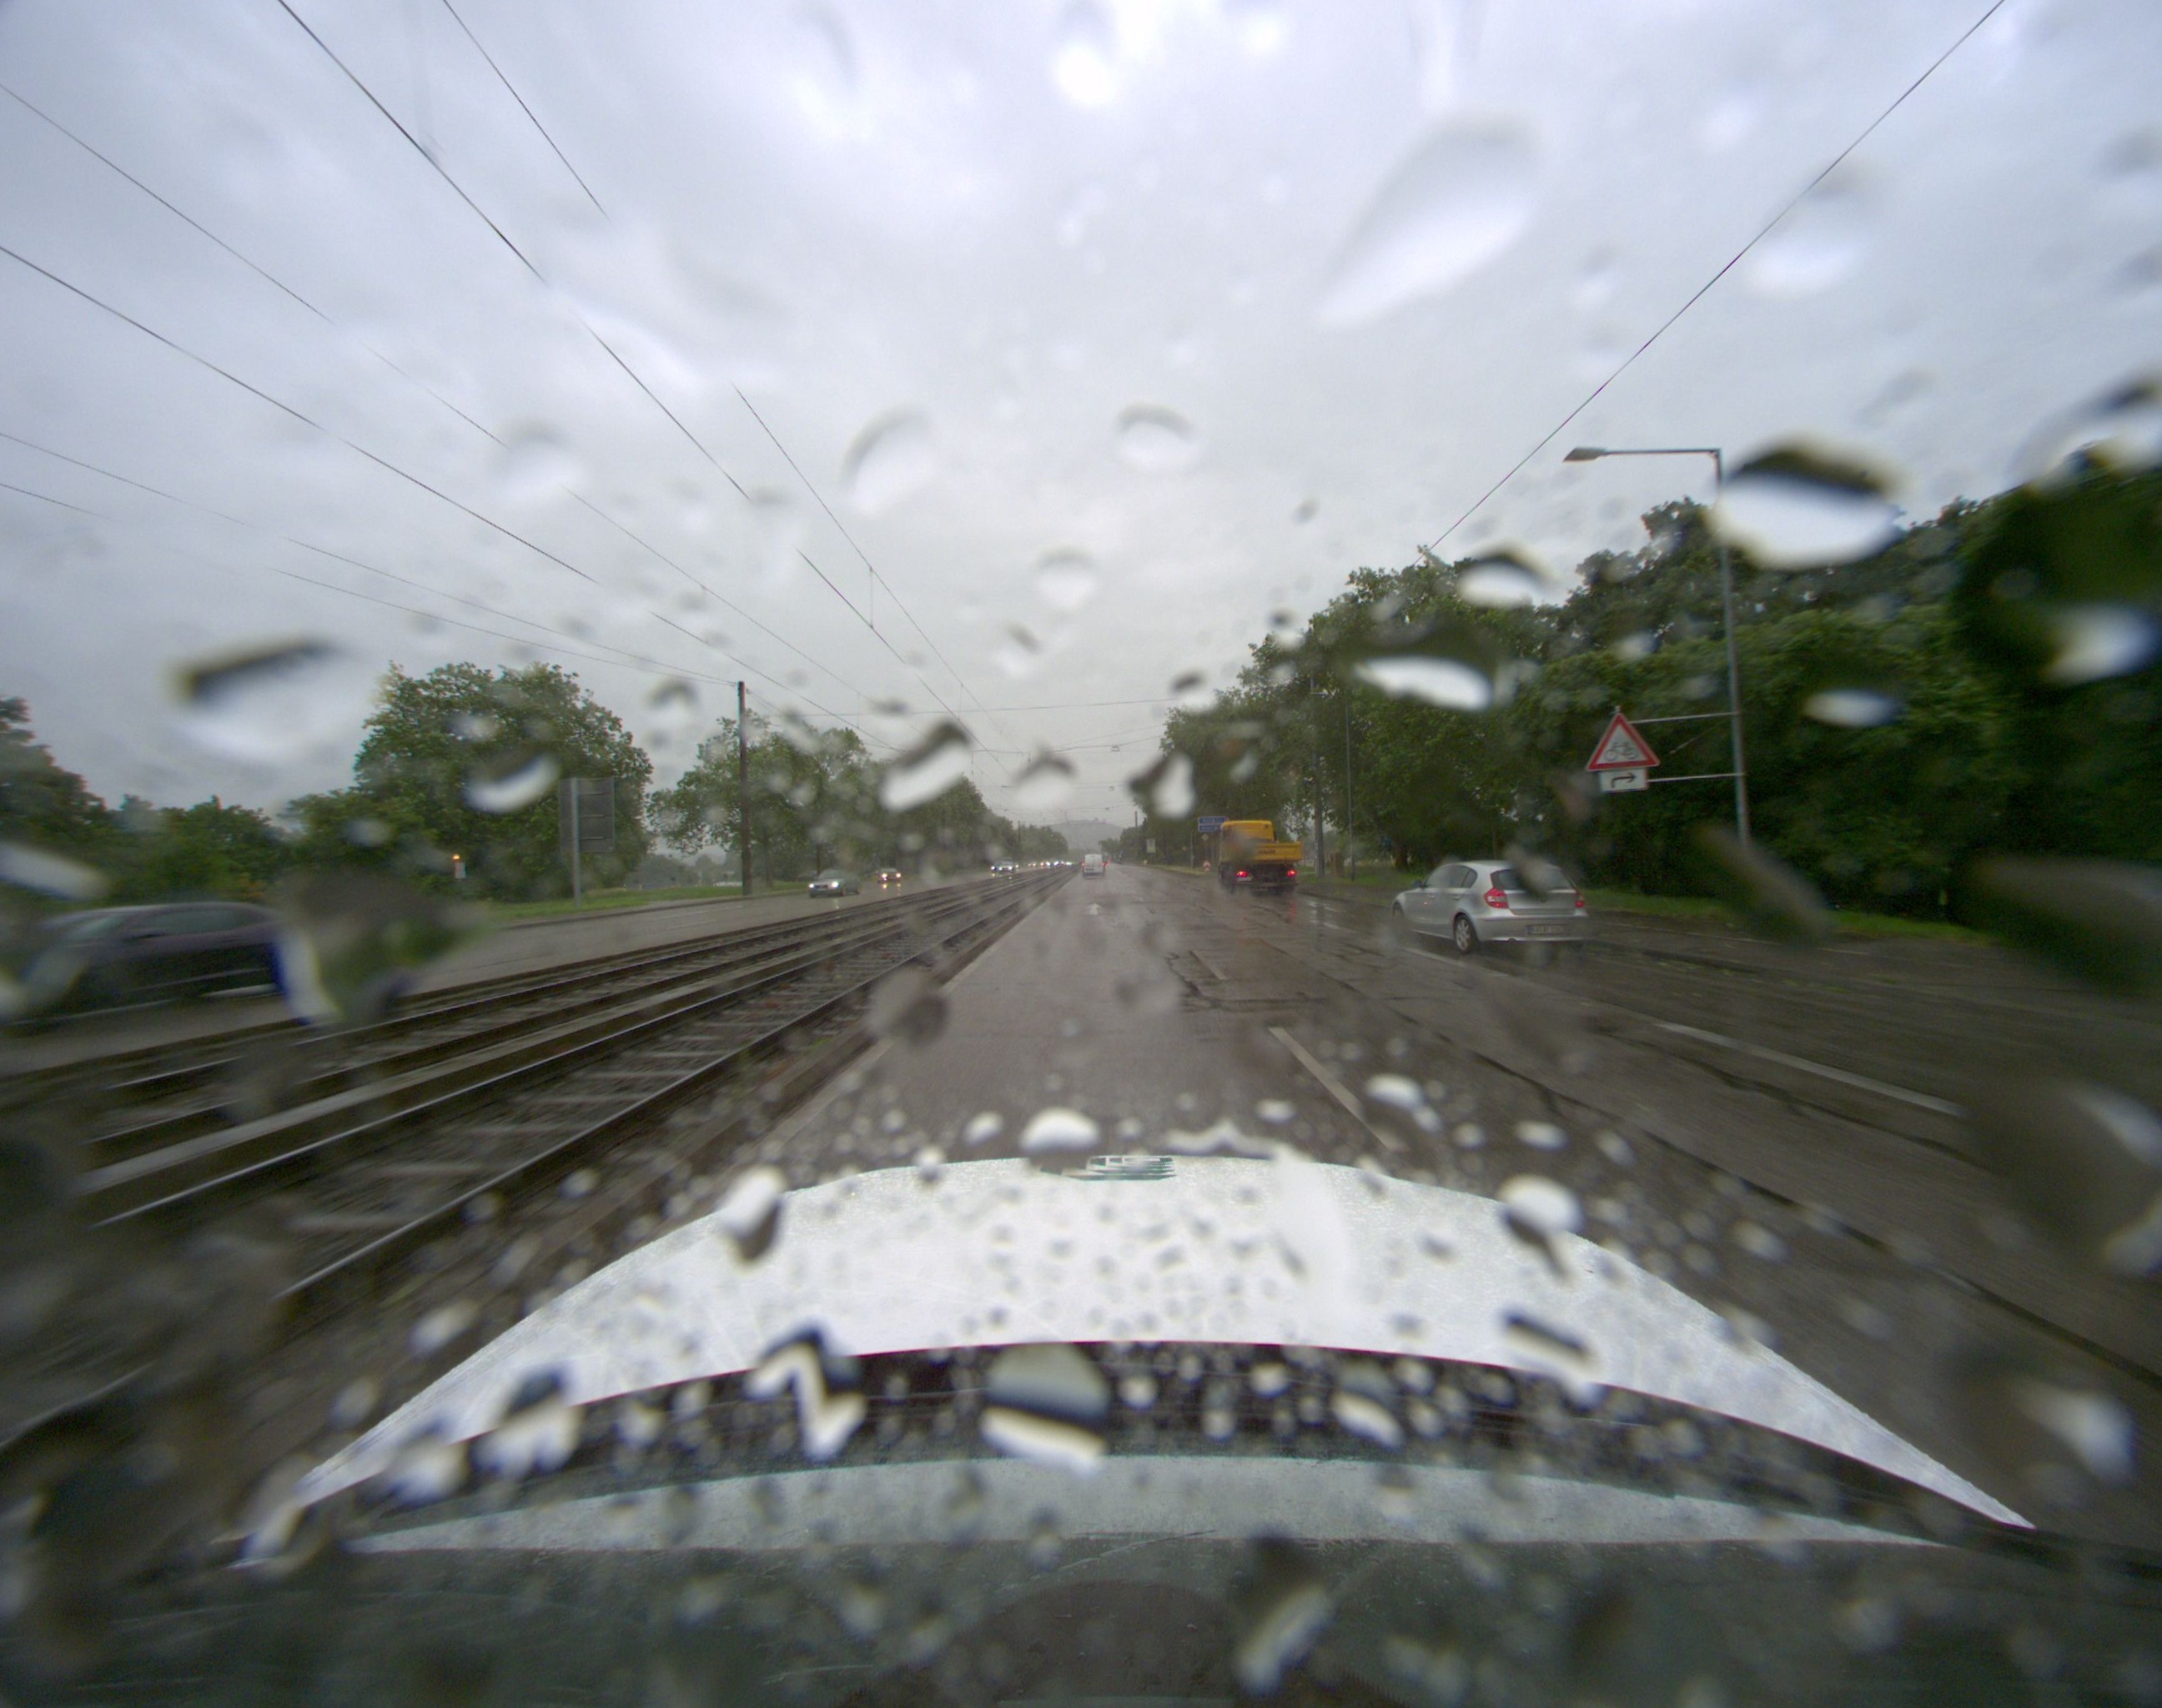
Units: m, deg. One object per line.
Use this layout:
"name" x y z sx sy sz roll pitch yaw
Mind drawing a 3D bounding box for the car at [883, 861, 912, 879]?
"car" -16.897 1.480 75.241 1.683 1.552 4.000 0 1 0

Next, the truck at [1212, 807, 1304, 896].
"truck" 7.054 -0.126 33.445 2.545 3.257 6.937 0 1 2

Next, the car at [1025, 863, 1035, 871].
"car" -11.897 3.081 191.100 1.813 1.706 5.021 0 1 1

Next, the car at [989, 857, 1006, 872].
"car" -11.234 1.375 109.752 1.881 1.809 5.003 0 1 -1

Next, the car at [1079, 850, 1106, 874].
"car" 0.900 0.590 61.651 1.981 1.684 3.742 0 1 2

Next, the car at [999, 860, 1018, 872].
"car" -8.941 1.464 100.496 1.735 1.354 4.547 0 1 1

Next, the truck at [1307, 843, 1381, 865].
"truck" 64.000 -0.069 198.403 16.559 4.159 3.312 -5 -2 31

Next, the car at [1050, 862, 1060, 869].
"car" -6.095 2.696 191.803 1.782 1.549 5.320 0 1 5

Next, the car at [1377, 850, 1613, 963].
"car" 6.492 0.701 13.428 1.621 1.503 4.607 0 1 1

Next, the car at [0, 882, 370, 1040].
"car" -12.245 1.264 10.051 1.985 1.464 5.257 -4 0 4

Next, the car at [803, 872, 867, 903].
"car" -12.864 1.698 42.925 1.751 1.362 5.072 0 1 1
